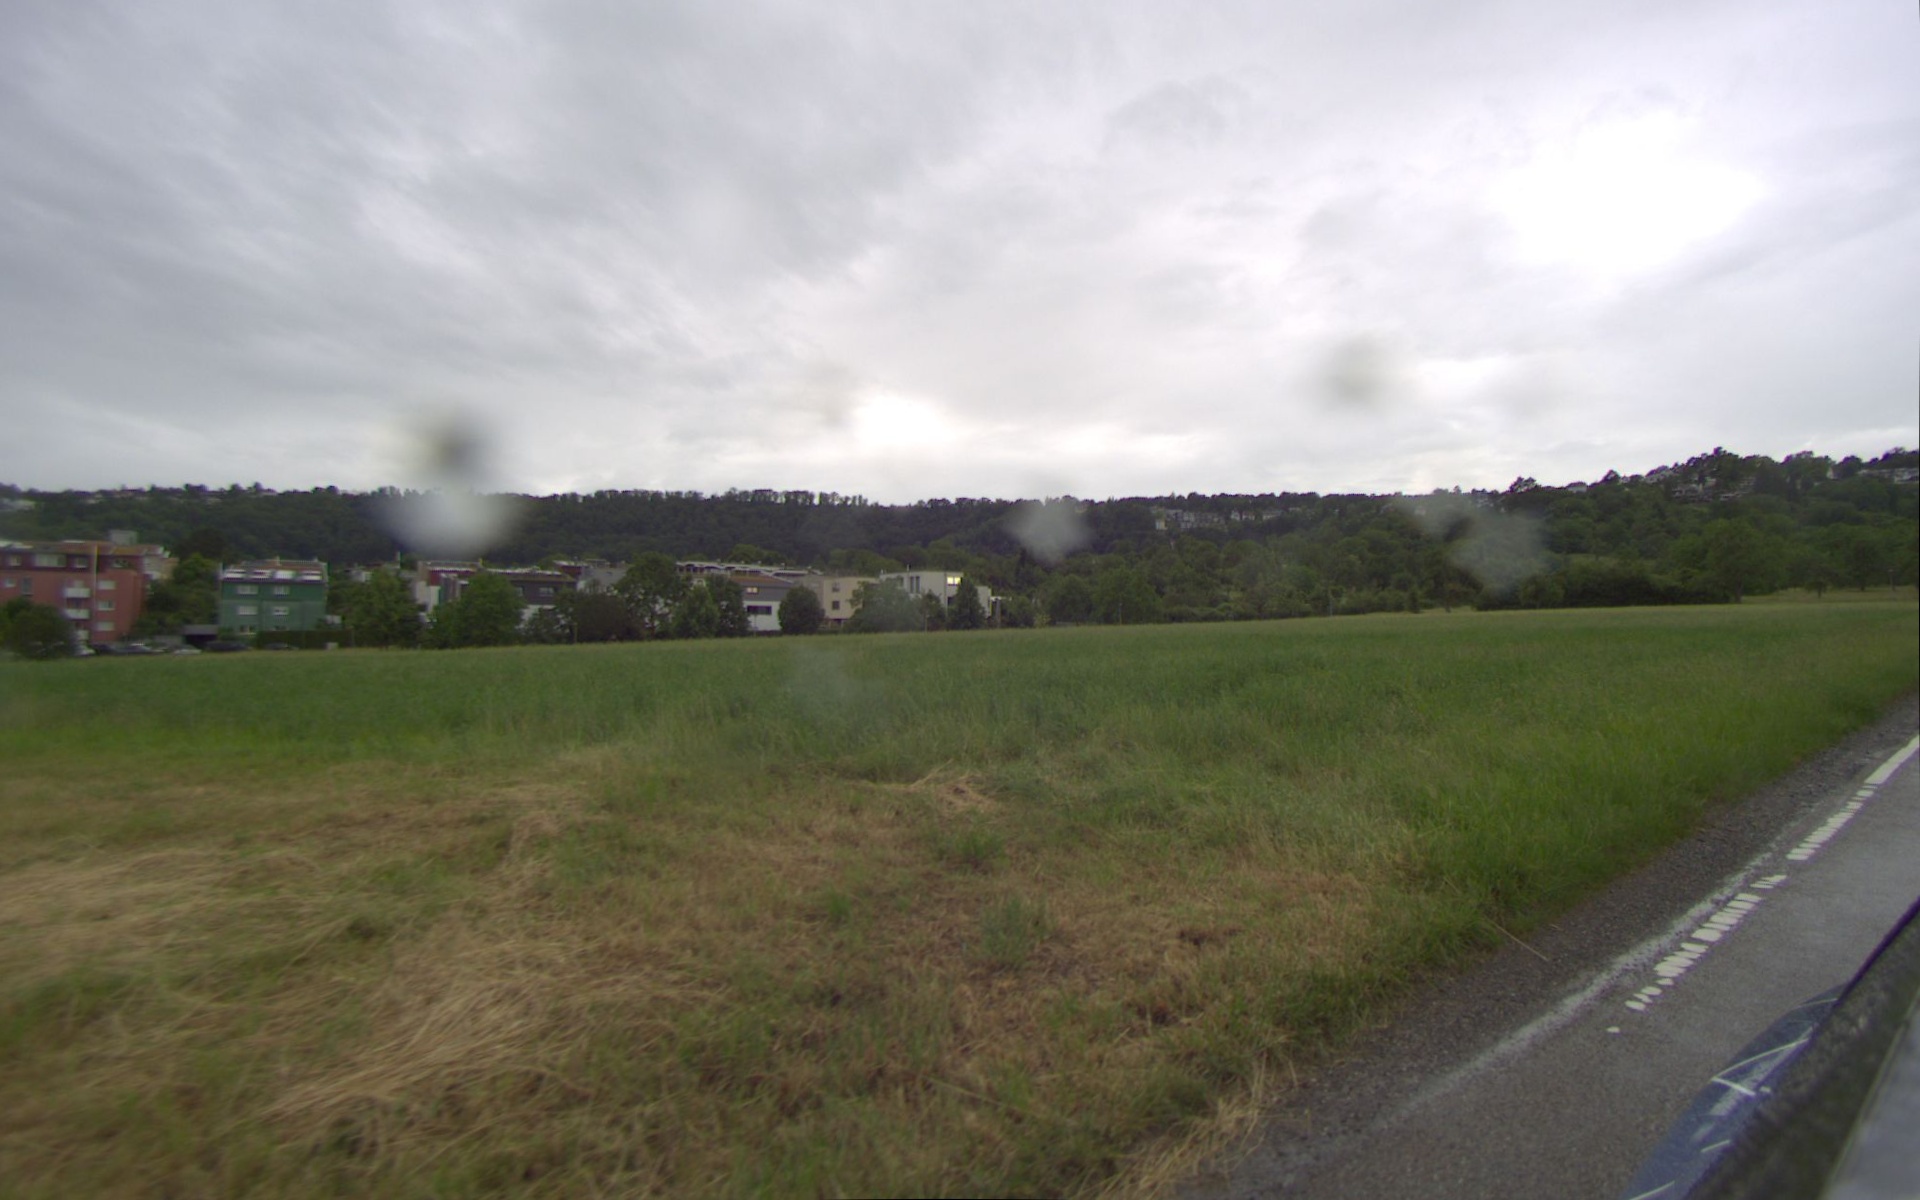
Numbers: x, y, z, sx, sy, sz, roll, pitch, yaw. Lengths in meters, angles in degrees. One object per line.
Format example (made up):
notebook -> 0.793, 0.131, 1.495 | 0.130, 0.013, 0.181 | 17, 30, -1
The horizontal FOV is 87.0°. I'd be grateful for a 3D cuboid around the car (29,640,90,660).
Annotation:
car -> -108.818, 6.034, 122.337 | 5.173, 2.039, 2.003 | -1, 0, -27
